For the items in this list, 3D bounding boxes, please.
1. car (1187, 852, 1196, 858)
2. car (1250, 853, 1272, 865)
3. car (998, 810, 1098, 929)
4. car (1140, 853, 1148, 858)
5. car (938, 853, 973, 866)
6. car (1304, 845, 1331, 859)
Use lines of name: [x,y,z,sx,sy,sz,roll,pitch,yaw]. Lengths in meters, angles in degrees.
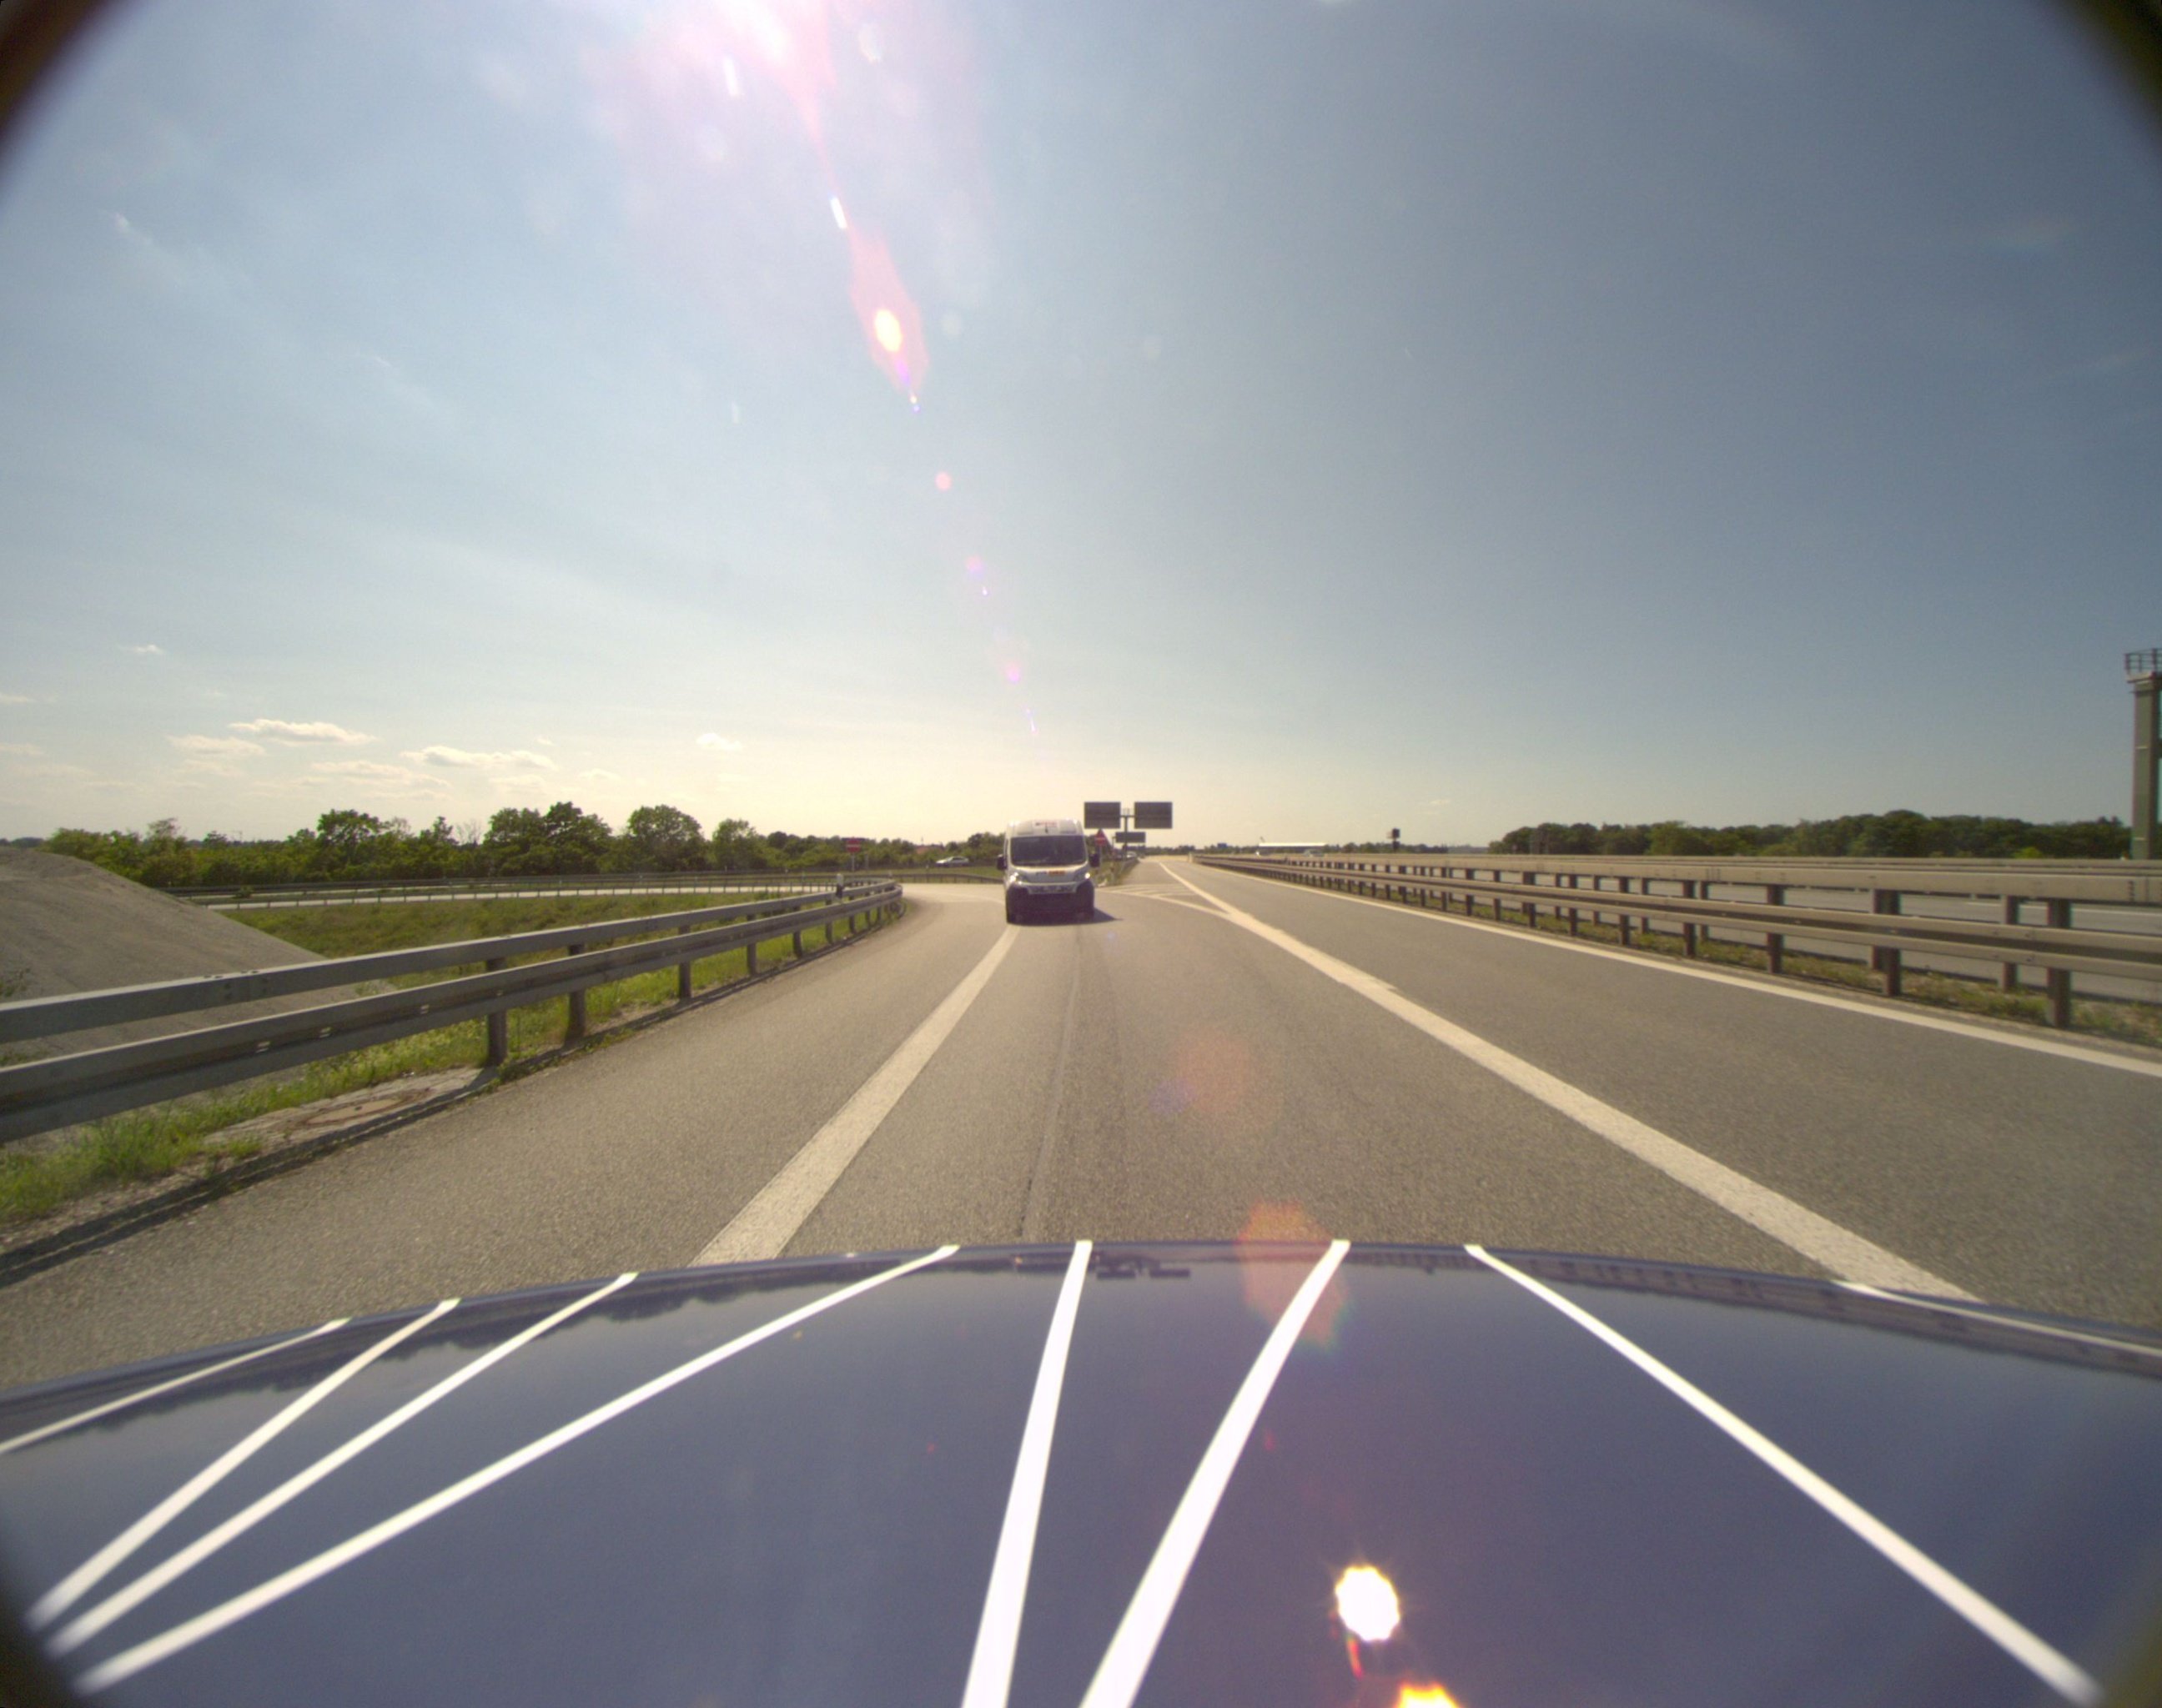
car: [29.347,0.212,202.441,1.842,1.509,4.576,0,1,2]
car: [22.201,0.573,94.035,1.834,1.424,4.217,-1,1,2]
car: [-1.009,0.355,19.899,2.088,2.509,6.234,-3,0,-5]
car: [20.289,0.432,243.717,1.999,1.744,3.998,-1,1,-3]
car: [-17.462,0.761,105.917,4.306,1.499,1.995,-3,1,-33]
car: [25.943,-0.260,83.558,1.767,1.414,4.216,-1,1,2]
